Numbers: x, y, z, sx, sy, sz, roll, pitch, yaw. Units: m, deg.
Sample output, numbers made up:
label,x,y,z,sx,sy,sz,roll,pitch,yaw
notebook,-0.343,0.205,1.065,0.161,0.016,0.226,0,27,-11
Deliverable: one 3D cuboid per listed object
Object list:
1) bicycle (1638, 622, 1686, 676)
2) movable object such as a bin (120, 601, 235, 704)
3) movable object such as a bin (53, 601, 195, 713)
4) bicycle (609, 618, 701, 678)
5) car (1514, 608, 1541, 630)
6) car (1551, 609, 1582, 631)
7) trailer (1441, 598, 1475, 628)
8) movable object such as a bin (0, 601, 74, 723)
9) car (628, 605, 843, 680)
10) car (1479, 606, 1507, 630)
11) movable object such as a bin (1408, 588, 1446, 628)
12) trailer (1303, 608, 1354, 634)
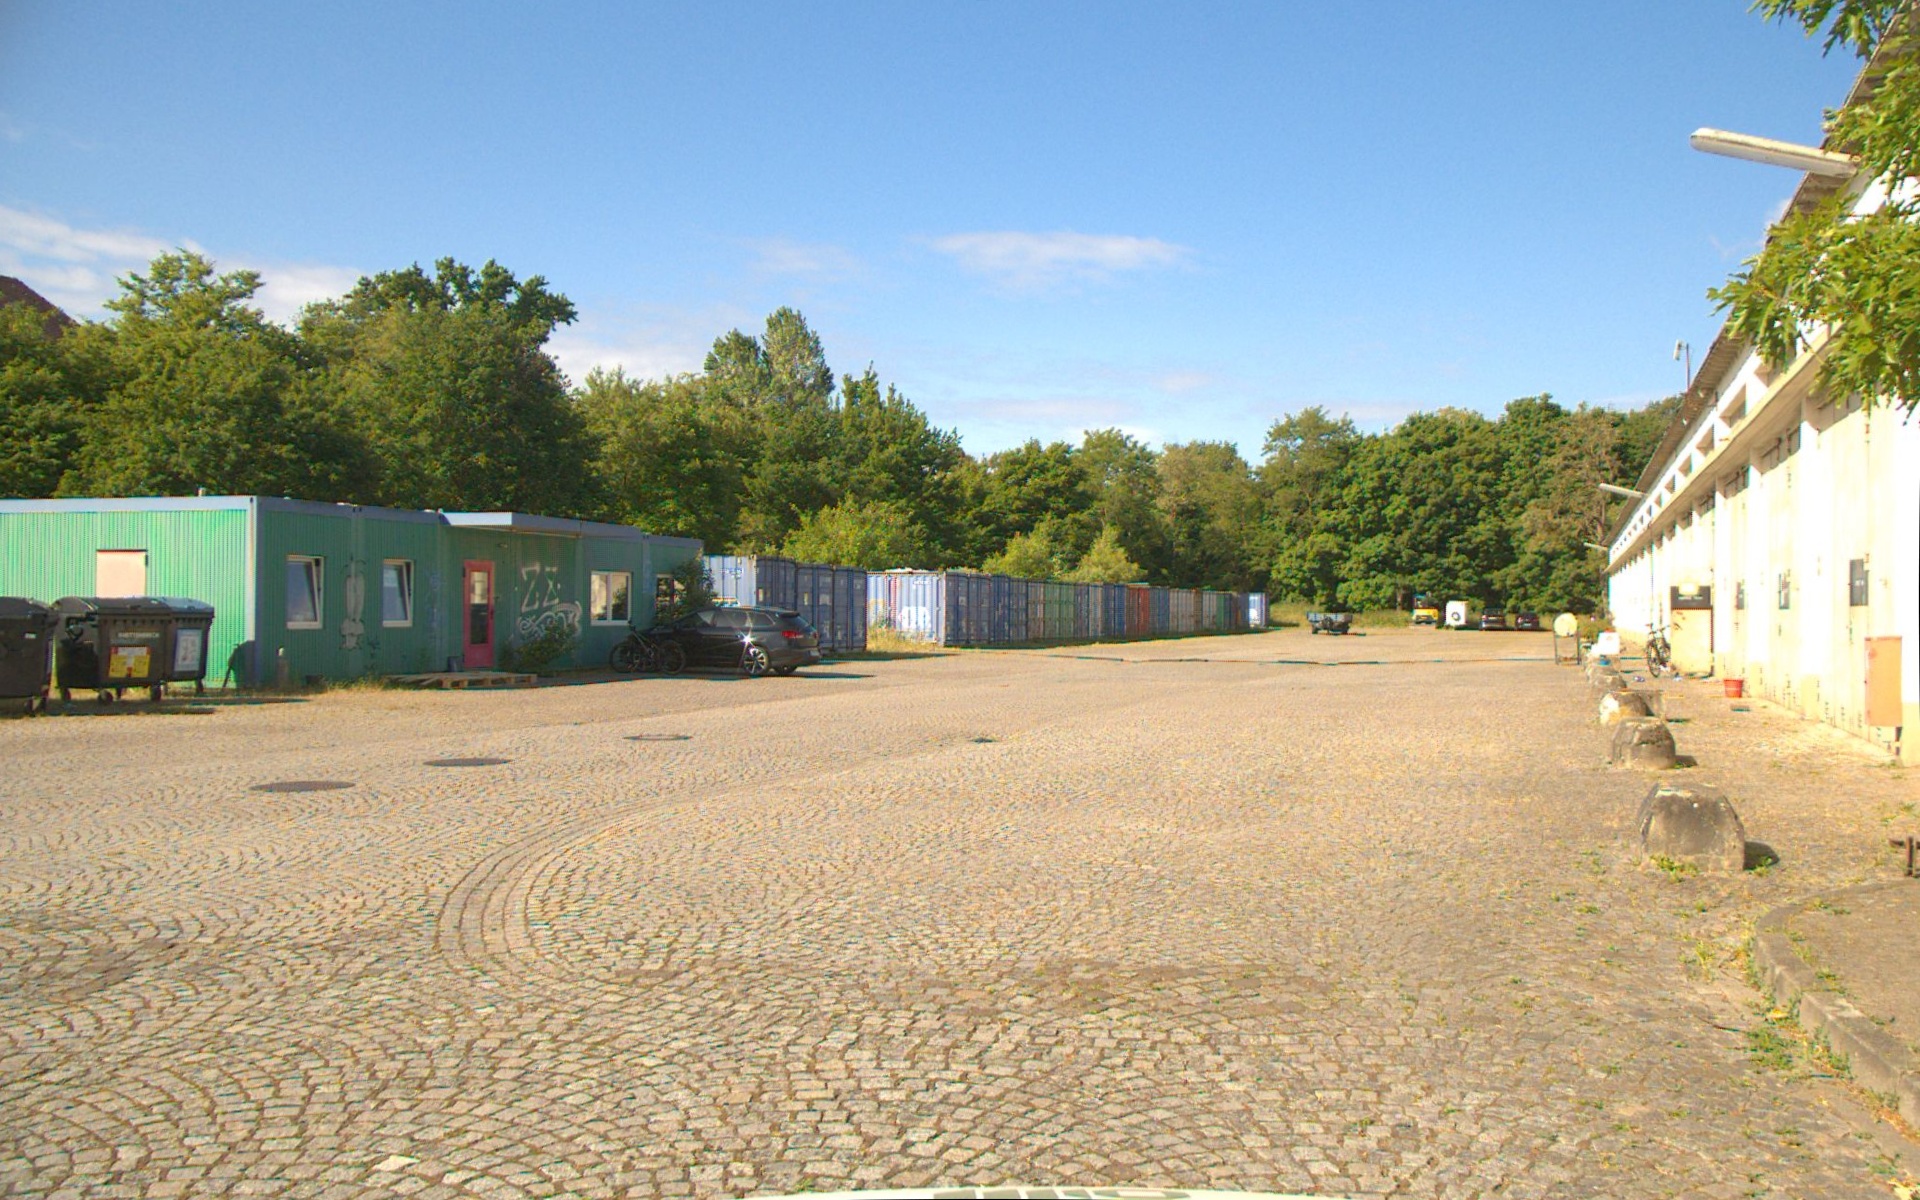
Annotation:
label,x,y,z,sx,sy,sz,roll,pitch,yaw
bicycle,14.786,1.023,34.824,0.652,1.087,1.819,1,-1,32
movable object such as a bin,-11.733,0.772,24.852,0.863,1.483,1.441,1,-1,9
movable object such as a bin,-11.611,0.780,23.015,0.997,1.483,1.441,1,-1,20
bicycle,-6.331,0.987,34.338,1.766,1.190,0.668,1,-1,18
car,42.145,1.411,122.740,1.825,1.496,4.297,1,1,20
car,44.657,1.468,121.717,1.710,1.461,4.180,2,1,25
trailer,38.081,0.966,126.445,2.148,2.131,5.752,1,1,20
movable object such as a bin,-11.868,0.763,20.858,1.138,1.483,1.426,2,-1,-27
car,-4.828,0.906,35.724,4.162,1.475,1.932,1,-1,18
car,39.740,1.306,123.264,1.825,1.617,4.297,1,1,20
movable object such as a bin,36.108,0.560,127.836,2.259,2.947,5.751,1,1,21
trailer,24.586,1.366,110.082,2.649,1.491,6.250,1,1,19
